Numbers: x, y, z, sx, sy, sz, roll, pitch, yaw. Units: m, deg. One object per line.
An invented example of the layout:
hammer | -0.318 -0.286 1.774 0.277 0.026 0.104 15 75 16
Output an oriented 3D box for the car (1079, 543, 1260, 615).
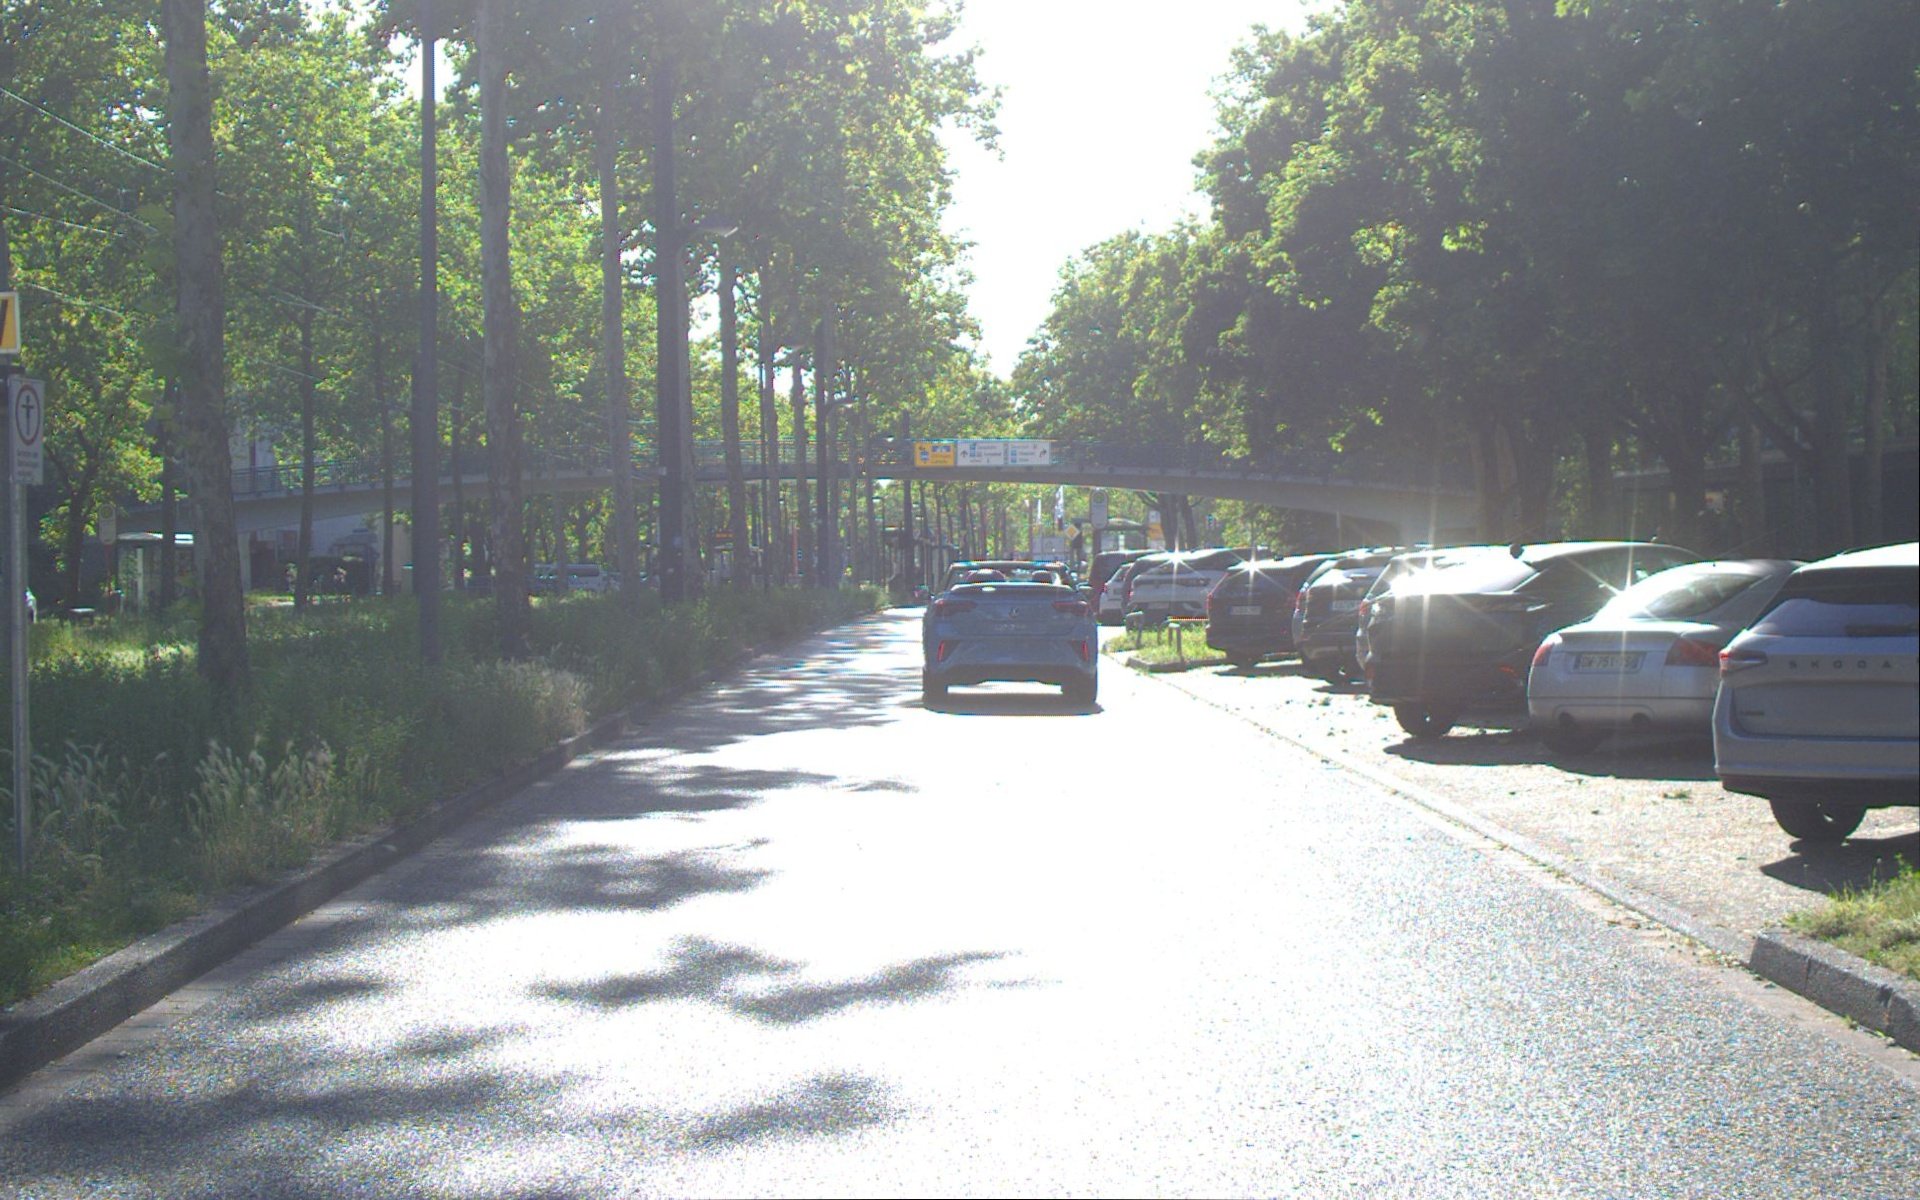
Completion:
car | 5.312 -0.534 86.739 4.611 1.762 1.856 0 1 -43

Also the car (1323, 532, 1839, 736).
car | 5.041 0.232 27.571 4.318 1.420 1.855 -3 1 -44

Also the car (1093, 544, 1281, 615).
car | 5.519 -0.504 83.272 4.611 1.674 1.856 0 1 -43

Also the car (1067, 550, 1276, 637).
car | 4.467 -0.145 72.061 1.855 1.675 4.599 -3 -1 42

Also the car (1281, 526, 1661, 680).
car | 5.855 0.006 39.042 1.855 1.564 4.612 -1 1 45

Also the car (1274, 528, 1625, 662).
car | 6.144 -0.091 42.846 4.612 1.564 1.856 -2 1 -44

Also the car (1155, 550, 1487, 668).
car | 4.869 0.091 45.894 1.978 1.454 4.613 0 1 44

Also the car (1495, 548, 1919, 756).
car | 5.884 0.321 24.808 4.318 1.293 1.691 -3 1 -44

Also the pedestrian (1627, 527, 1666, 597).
pedestrian | 19.882 -1.095 99.503 0.819 2.007 0.750 -1 1 -41

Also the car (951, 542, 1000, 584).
car | 0.591 -1.427 131.141 1.849 1.530 3.866 0 1 0

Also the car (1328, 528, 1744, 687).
car | 5.953 0.061 35.197 4.450 1.445 1.919 -2 0 -45

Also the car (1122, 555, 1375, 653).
car | 5.180 0.057 61.397 4.611 1.674 1.856 0 1 -43

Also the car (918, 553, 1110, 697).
car | 0.564 0.223 36.665 1.922 1.406 4.000 0 1 1

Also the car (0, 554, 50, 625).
car | -22.826 -0.268 80.515 1.787 1.584 4.168 2 1 1

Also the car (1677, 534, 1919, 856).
car | 5.702 0.364 17.300 4.482 1.438 1.855 -3 1 -44
